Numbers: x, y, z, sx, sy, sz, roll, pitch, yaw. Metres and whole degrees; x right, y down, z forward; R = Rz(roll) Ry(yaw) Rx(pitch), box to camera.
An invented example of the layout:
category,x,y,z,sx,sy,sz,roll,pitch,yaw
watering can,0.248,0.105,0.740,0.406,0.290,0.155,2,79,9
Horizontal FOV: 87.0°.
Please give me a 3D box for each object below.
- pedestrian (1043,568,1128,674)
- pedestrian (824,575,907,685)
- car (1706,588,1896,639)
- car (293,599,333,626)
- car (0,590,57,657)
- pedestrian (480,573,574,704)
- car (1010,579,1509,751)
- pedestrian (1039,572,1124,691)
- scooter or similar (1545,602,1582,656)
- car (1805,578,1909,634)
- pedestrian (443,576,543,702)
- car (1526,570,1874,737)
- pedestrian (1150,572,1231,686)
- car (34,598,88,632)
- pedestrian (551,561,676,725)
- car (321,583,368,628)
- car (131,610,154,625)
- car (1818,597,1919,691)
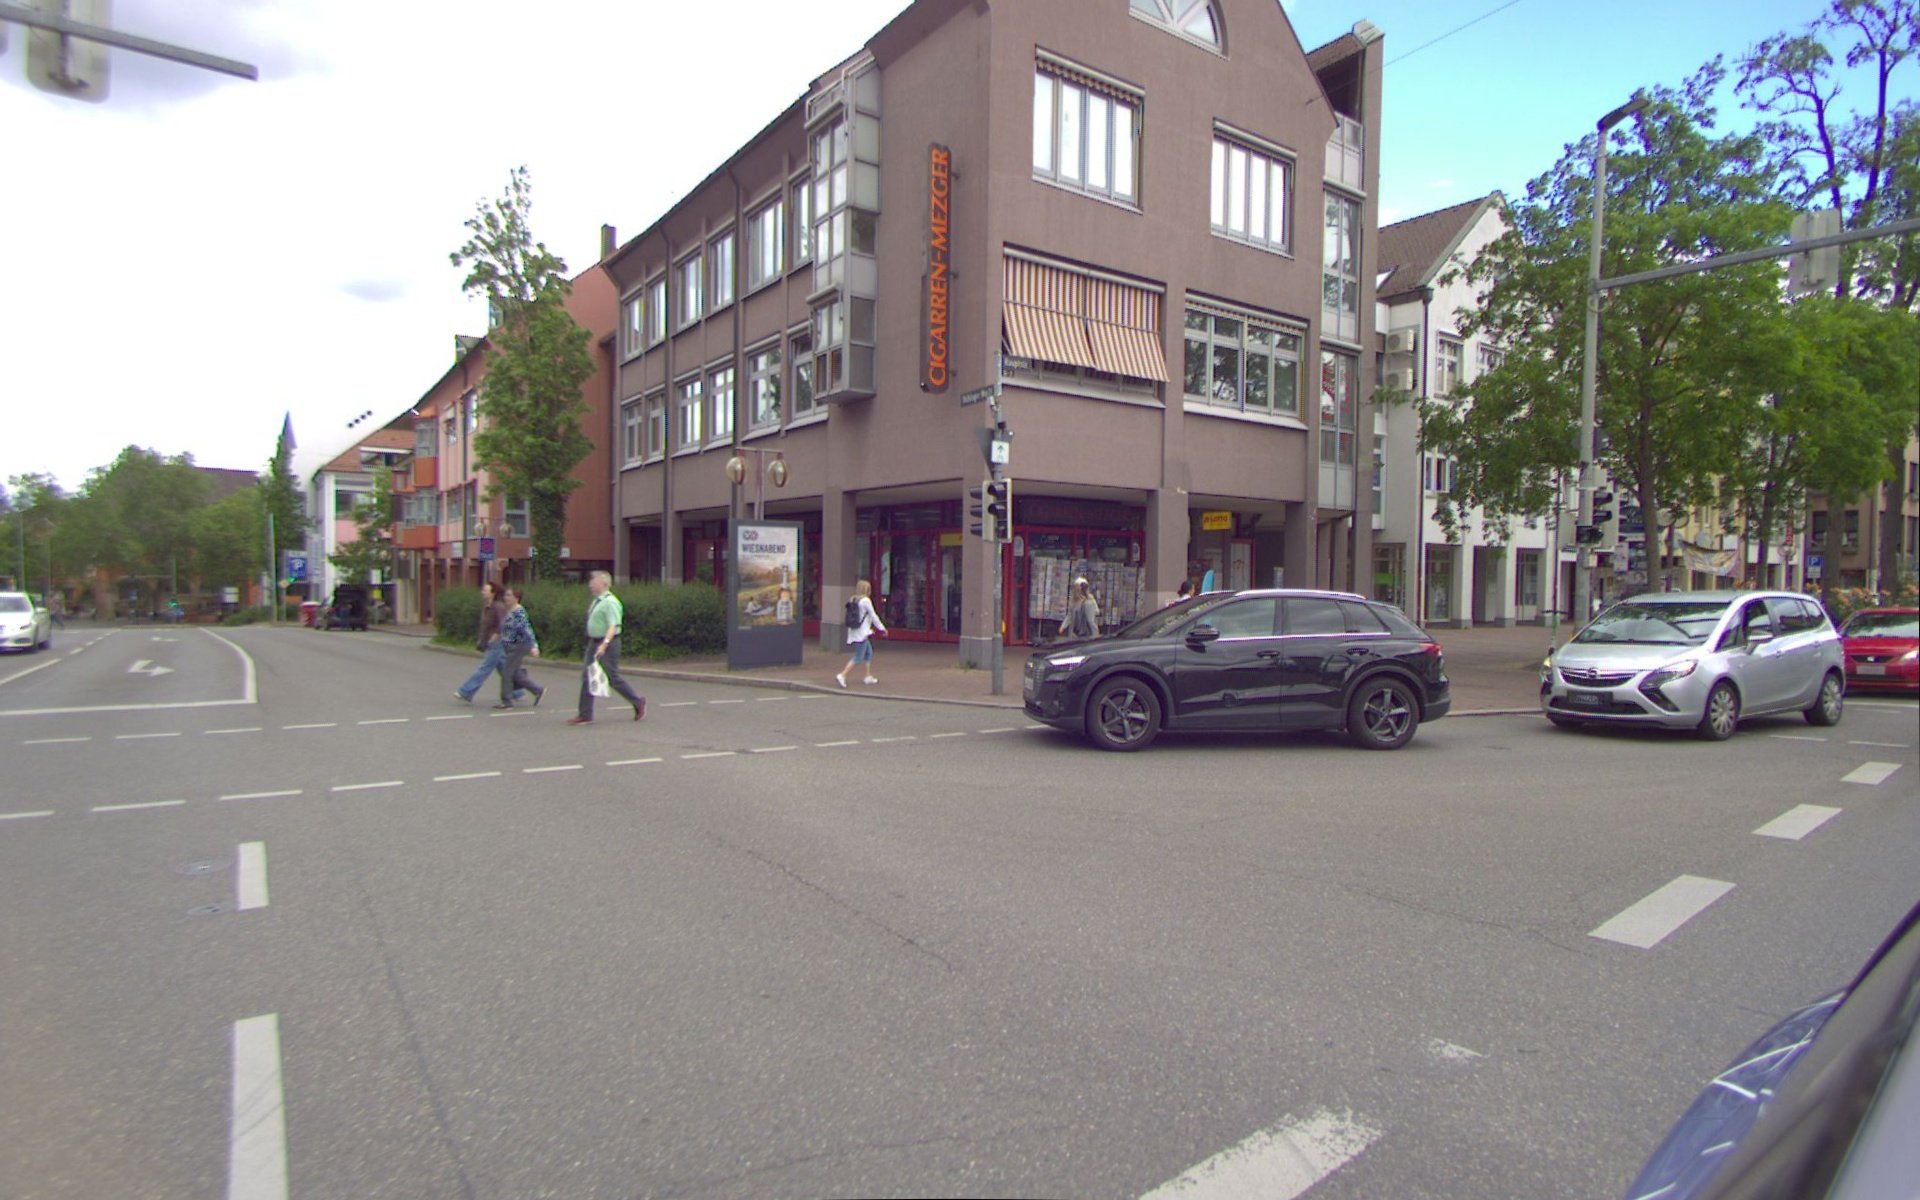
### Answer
category,x,y,z,sx,sy,sz,roll,pitch,yaw
pedestrian,2.041,0.311,16.450,1.073,1.646,0.811,0,1,-37
pedestrian,-1.452,0.435,15.476,1.018,1.615,0.825,0,1,-28
car,28.544,0.414,34.512,1.707,1.471,4.655,0,2,-35
car,-35.393,0.666,55.311,1.692,1.412,3.741,2,-1,-34
car,-23.445,0.514,24.622,1.767,1.506,4.570,0,1,-37
pedestrian,-5.505,0.454,12.860,0.951,1.578,0.832,0,1,-35
car,3.053,0.615,10.845,4.762,1.629,1.860,0,0,-7
pedestrian,1.760,0.435,14.657,0.936,1.646,0.743,0,1,-38
scooter or similar,13.436,0.624,22.520,0.469,1.101,1.862,2,2,38
car,33.591,0.178,37.864,4.666,1.899,2.000,-1,3,-37
pedestrian,-6.209,0.482,13.452,1.039,1.604,0.832,0,1,-38
car,9.002,0.542,12.256,4.292,1.722,1.747,0,-1,-29
pedestrian,3.477,0.408,15.286,0.936,1.646,0.743,0,1,-38
car,-48.015,0.777,54.124,1.767,1.675,4.459,0,1,-37
pedestrian,-3.940,0.445,11.490,1.089,1.737,1.059,0,1,-35
car,-29.207,0.293,47.972,1.692,2.040,3.741,2,-2,-34
car,-94.490,2.010,116.967,1.692,1.620,3.741,2,-2,-34
car,16.243,0.684,17.217,3.572,1.467,1.631,0,0,-35
